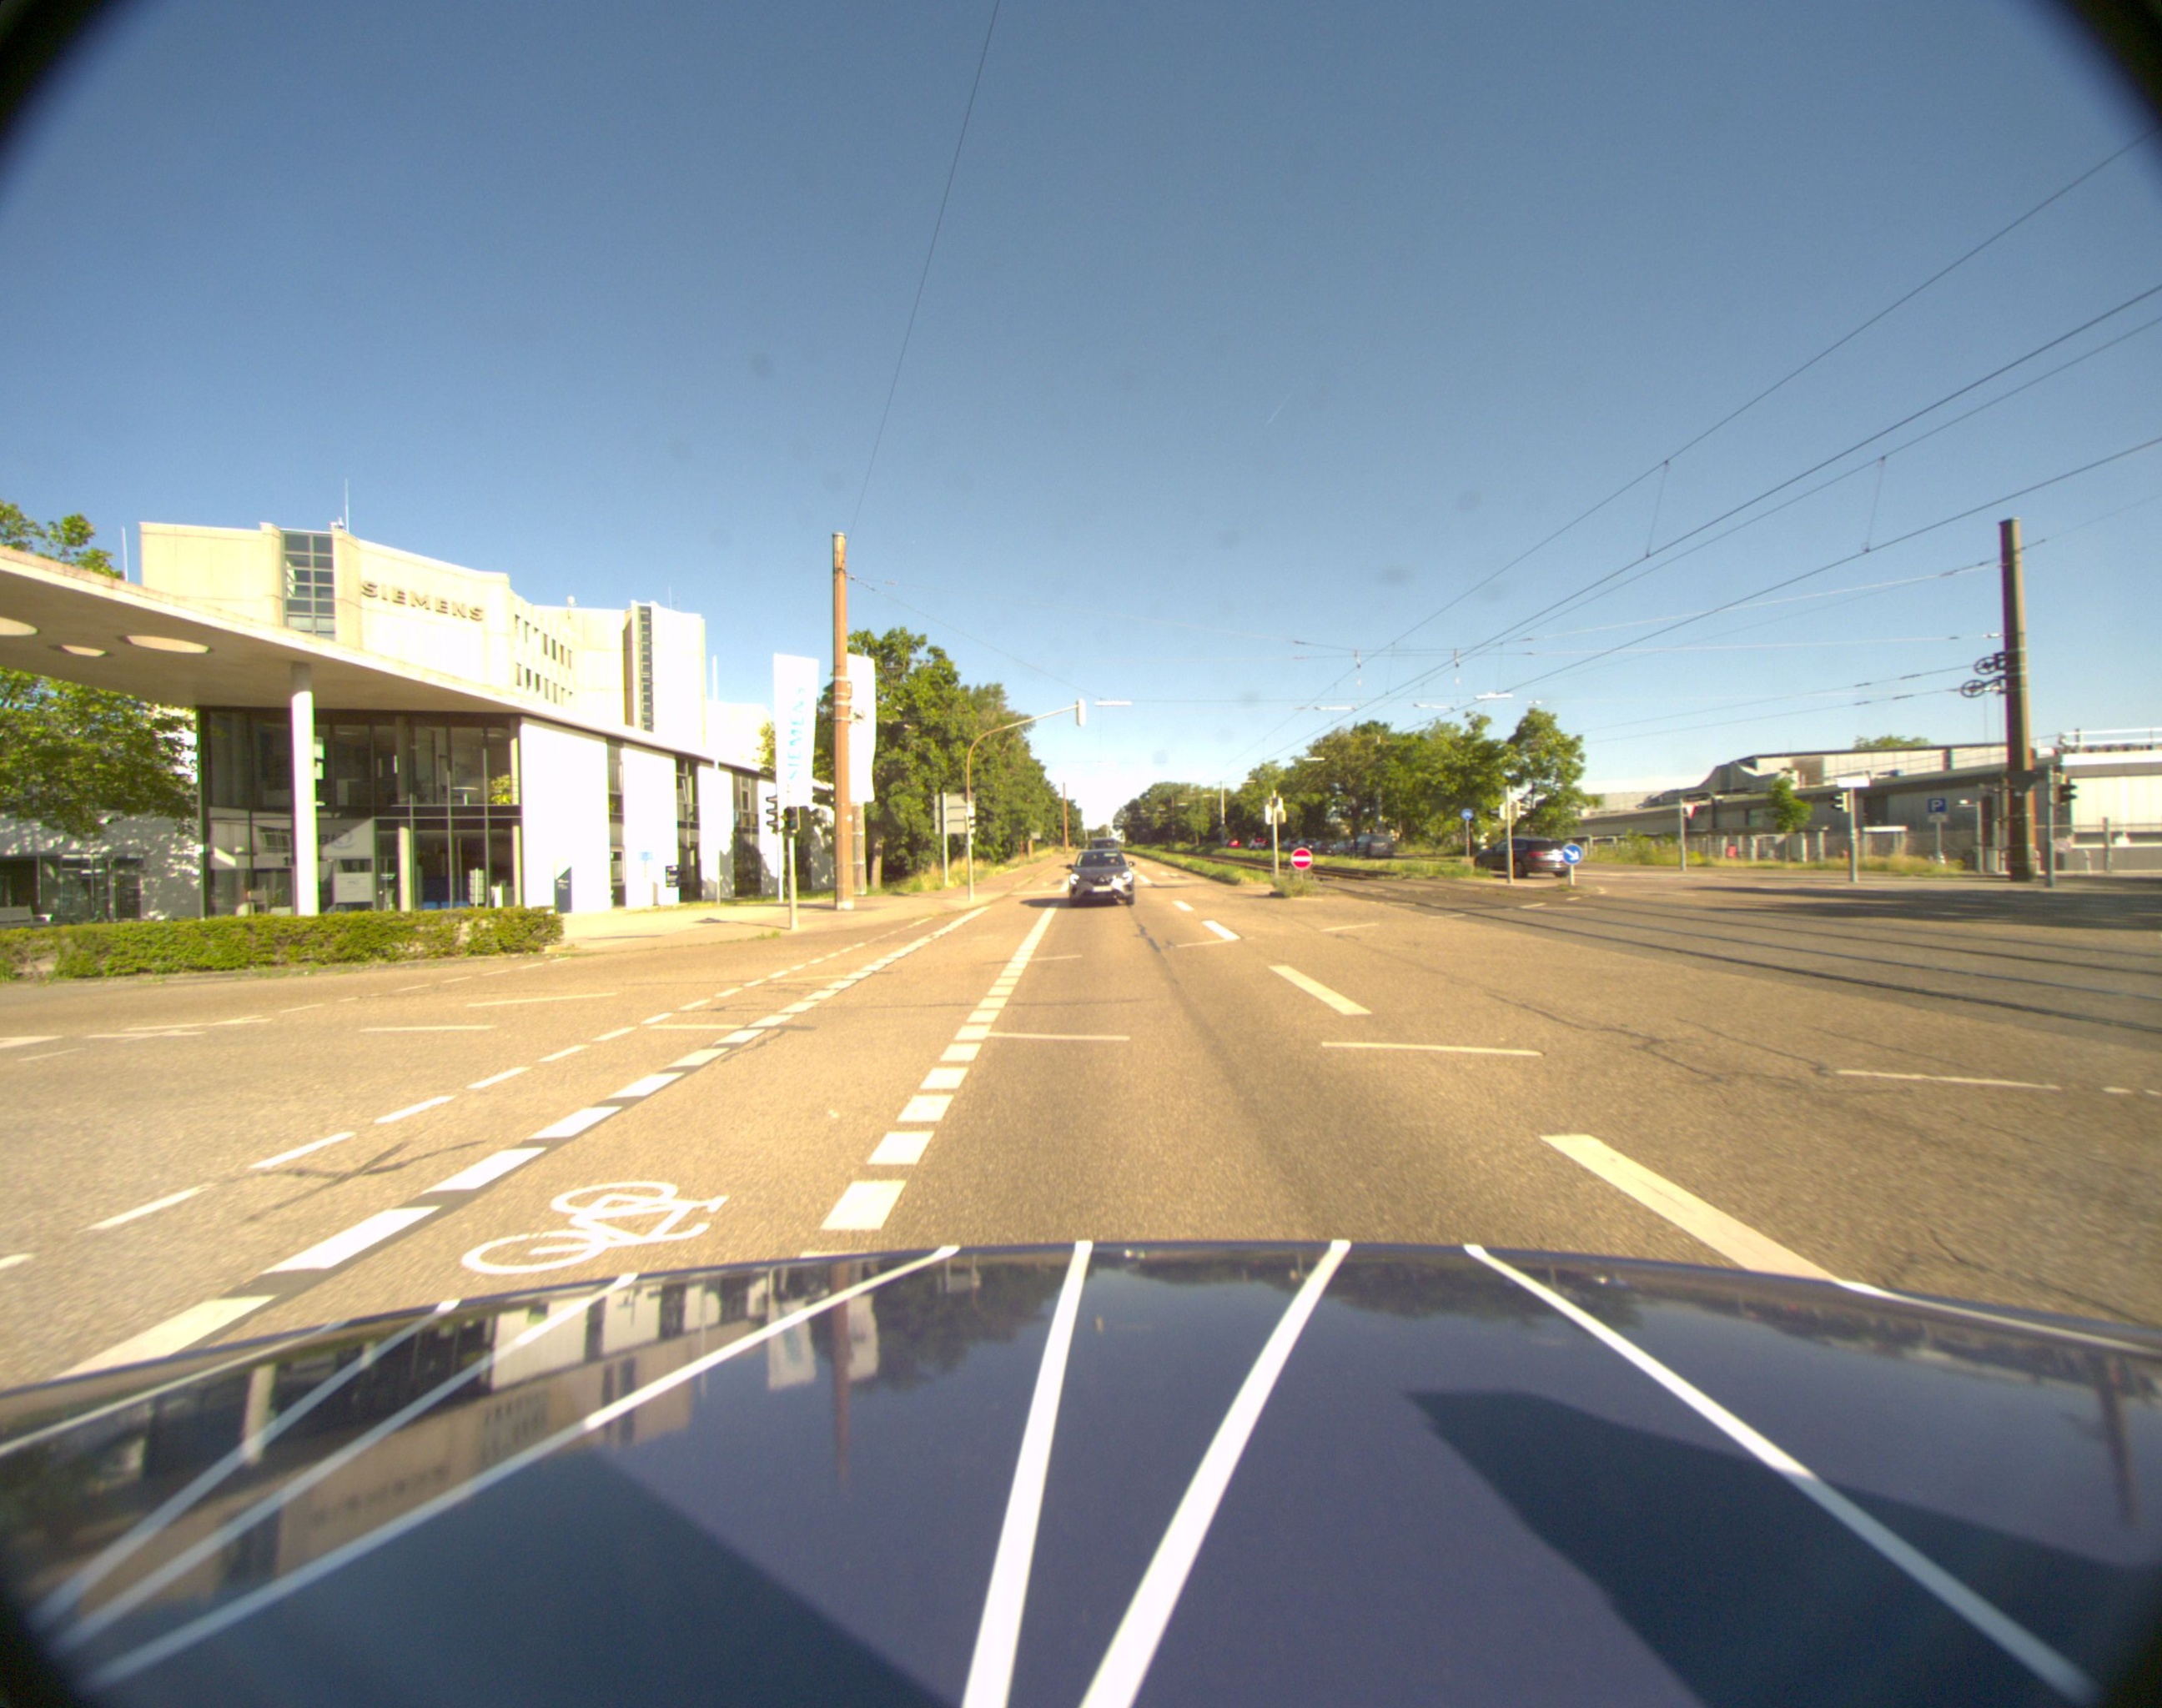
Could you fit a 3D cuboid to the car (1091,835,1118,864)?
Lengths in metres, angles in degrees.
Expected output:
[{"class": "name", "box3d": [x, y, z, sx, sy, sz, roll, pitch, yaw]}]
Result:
[{"class": "car", "box3d": [1.831, -0.329, 60.758, 1.999, 2.198, 4.786, -1, 0, 0]}]

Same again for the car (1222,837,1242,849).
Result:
[{"class": "car", "box3d": [23.409, -1.749, 117.969, 2.320, 1.723, 4.798, -2, 1, 4]}]

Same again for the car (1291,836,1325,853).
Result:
[{"class": "car", "box3d": [23.070, -0.932, 77.340, 2.130, 1.578, 4.616, -2, 1, 2]}]

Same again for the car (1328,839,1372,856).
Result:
[{"class": "car", "box3d": [23.121, -0.577, 65.452, 2.130, 1.372, 4.615, -2, 1, 0]}]

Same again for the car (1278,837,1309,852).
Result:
[{"class": "car", "box3d": [23.433, -1.057, 83.916, 2.130, 1.555, 4.560, -2, 1, 1]}]

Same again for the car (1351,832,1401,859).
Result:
[{"class": "car", "box3d": [22.674, -0.647, 58.561, 2.206, 1.923, 4.685, -2, 1, 3]}]

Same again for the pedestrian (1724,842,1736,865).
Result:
[{"class": "pedestrian", "box3d": [36.550, -0.045, 42.763, 0.442, 1.293, 0.440, -2, 1, -40]}]

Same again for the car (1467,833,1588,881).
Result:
[{"class": "car", "box3d": [18.055, 0.108, 31.039, 2.099, 1.799, 4.792, 0, 0, 0]}]

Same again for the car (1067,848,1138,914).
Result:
[{"class": "car", "box3d": [0.561, 0.711, 22.449, 1.796, 1.584, 4.529, -3, 1, 0]}]

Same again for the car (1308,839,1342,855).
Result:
[{"class": "car", "box3d": [23.023, -0.696, 71.847, 1.960, 1.418, 4.488, -2, 1, 2]}]

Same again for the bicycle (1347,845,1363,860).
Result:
[{"class": "bicycle", "box3d": [21.146, -0.127, 58.657, 0.698, 1.096, 1.781, -2, 1, 3]}]

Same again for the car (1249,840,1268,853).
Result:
[{"class": "car", "box3d": [23.493, -1.034, 100.545, 1.859, 1.549, 4.158, -2, 1, 6]}]

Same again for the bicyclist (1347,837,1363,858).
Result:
[{"class": "bicyclist", "box3d": [21.131, -0.483, 58.665, 0.804, 1.584, 1.236, -2, 1, 3]}]
